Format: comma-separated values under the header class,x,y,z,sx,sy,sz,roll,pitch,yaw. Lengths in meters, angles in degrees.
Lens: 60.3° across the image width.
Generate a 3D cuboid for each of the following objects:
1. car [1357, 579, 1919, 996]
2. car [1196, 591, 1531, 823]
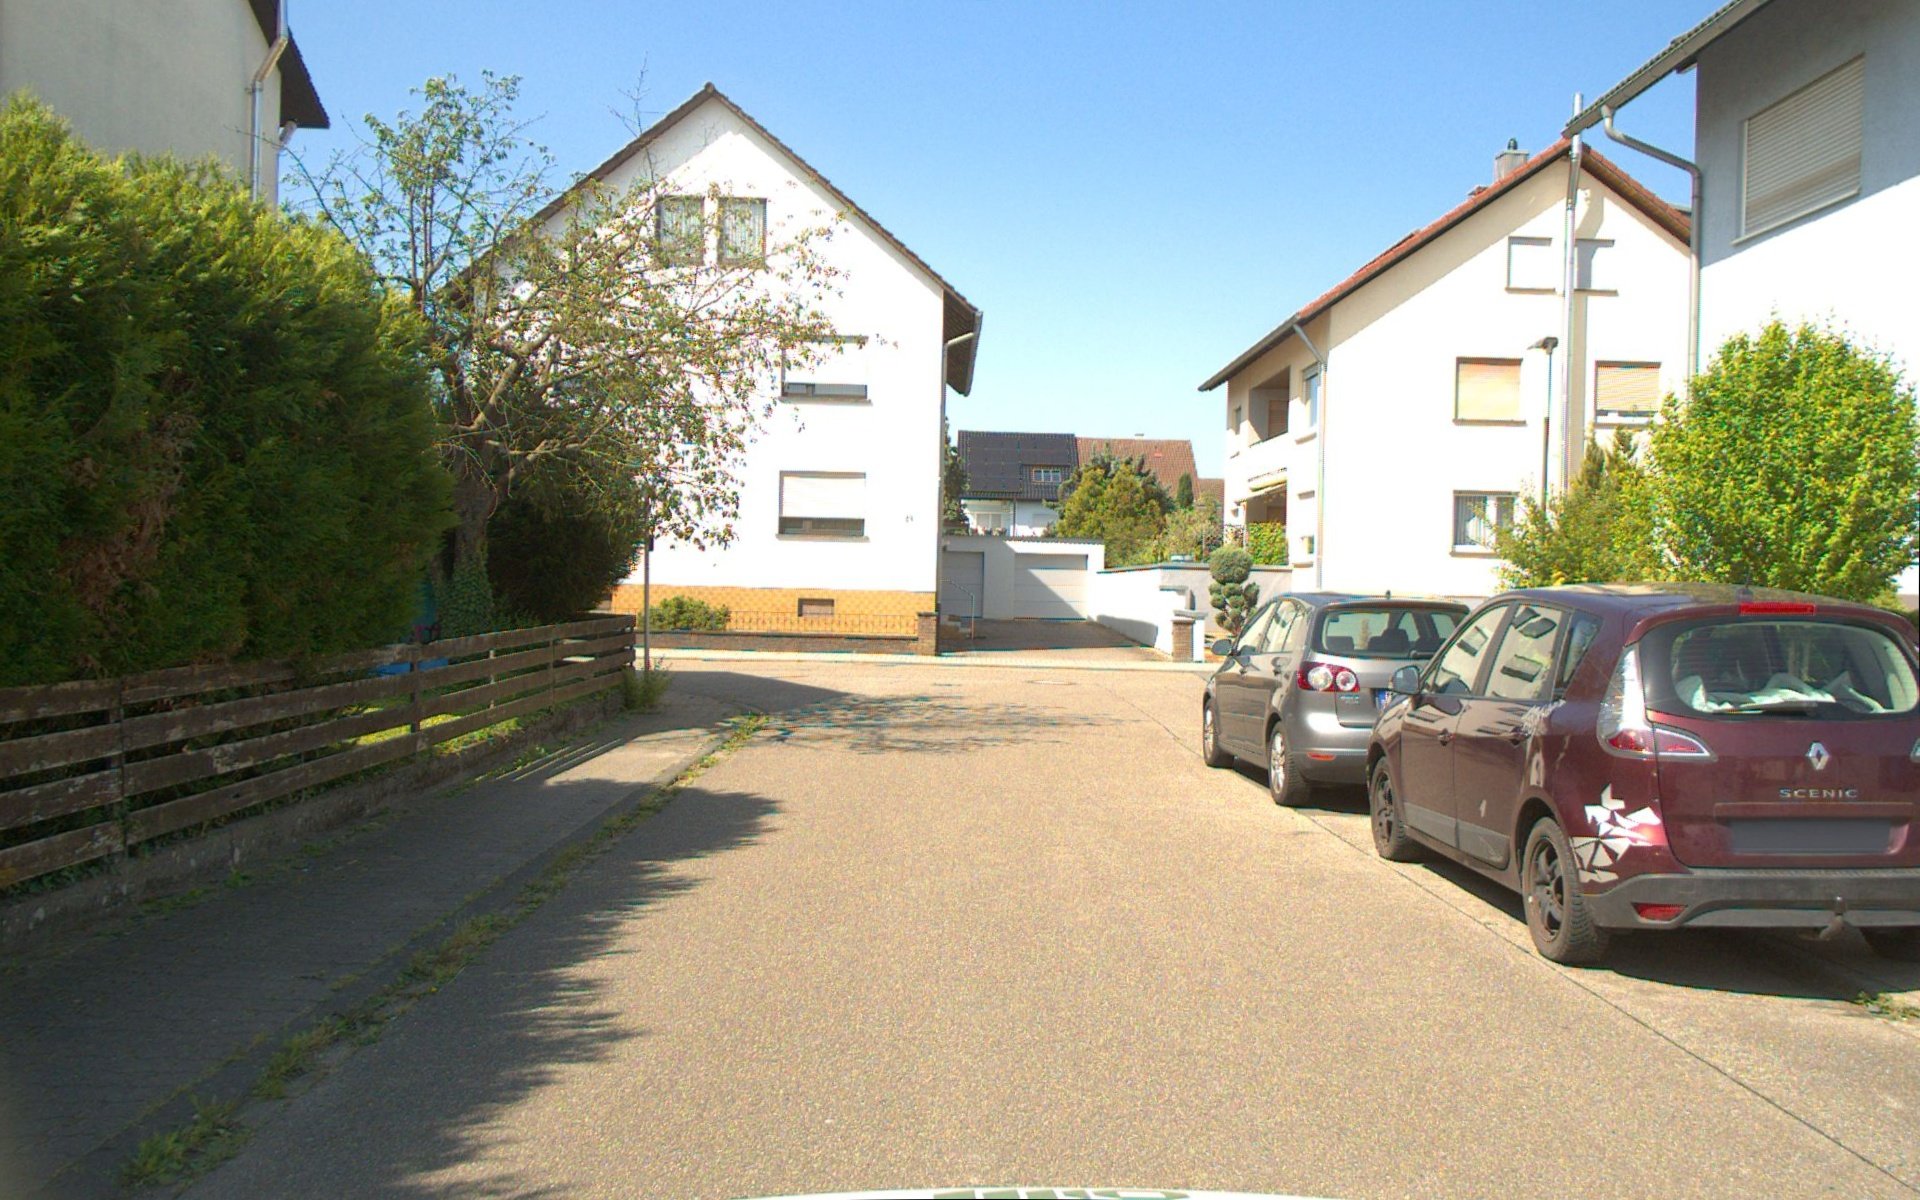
class,x,y,z,sx,sy,sz,roll,pitch,yaw
car,3.354,0.707,8.495,1.611,1.609,4.147,1,1,0
car,3.101,0.735,13.538,1.612,1.573,4.046,1,1,-2
